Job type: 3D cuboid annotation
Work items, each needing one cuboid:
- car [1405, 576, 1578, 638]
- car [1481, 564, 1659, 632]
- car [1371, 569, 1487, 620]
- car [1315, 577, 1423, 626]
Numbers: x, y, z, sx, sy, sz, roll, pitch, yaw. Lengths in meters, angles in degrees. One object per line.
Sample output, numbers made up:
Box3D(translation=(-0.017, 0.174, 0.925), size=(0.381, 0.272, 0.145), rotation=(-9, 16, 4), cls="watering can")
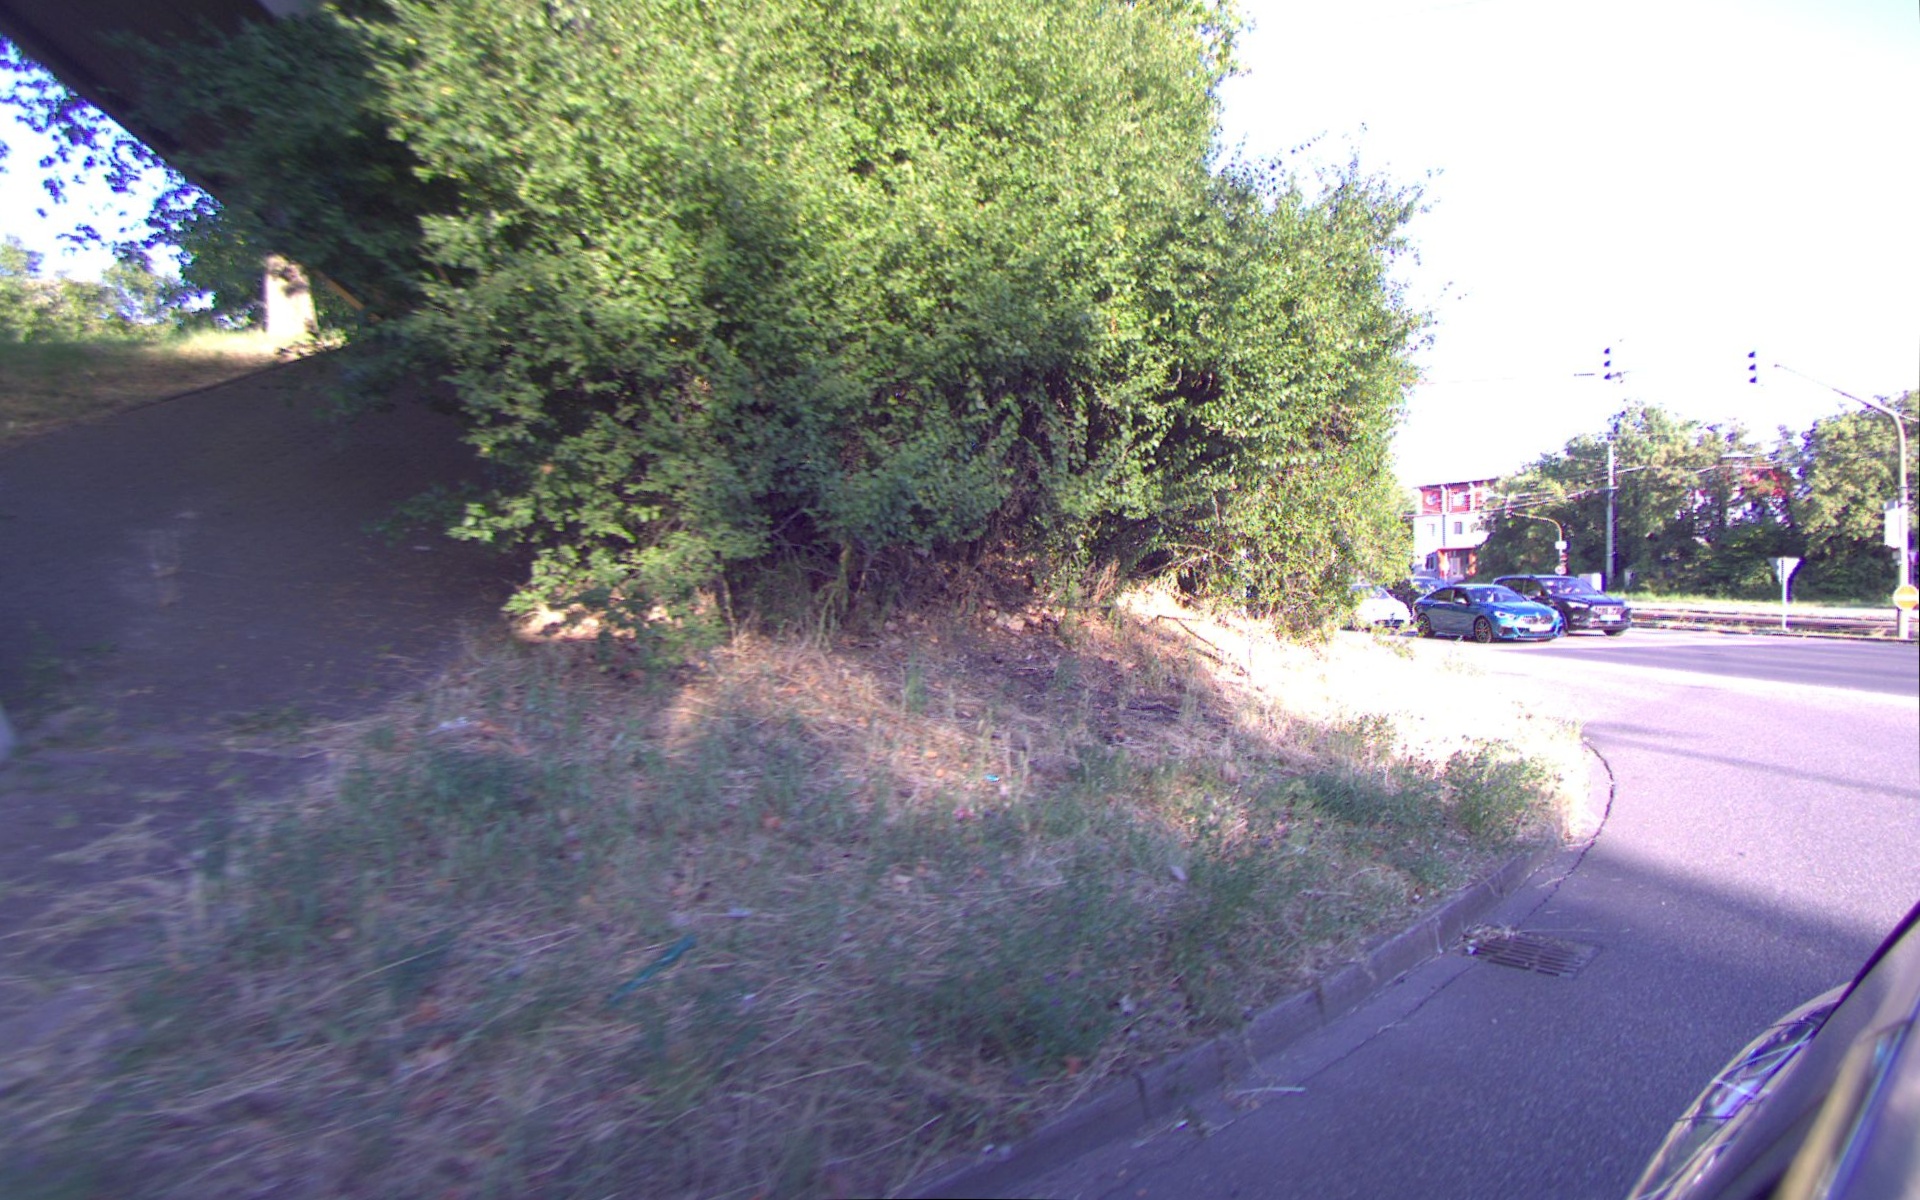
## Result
Box3D(translation=(13.595, 0.120, 26.225), size=(1.754, 1.435, 4.518), rotation=(-1, 1, -5), cls="car")
Box3D(translation=(16.655, -0.099, 27.947), size=(1.884, 1.702, 4.606), rotation=(-1, 1, -4), cls="car")
Box3D(translation=(16.492, -0.228, 35.894), size=(1.885, 1.669, 4.603), rotation=(-1, 1, -1), cls="car")
Box3D(translation=(13.048, 0.012, 32.547), size=(1.633, 1.448, 3.928), rotation=(-1, 1, -4), cls="car")
